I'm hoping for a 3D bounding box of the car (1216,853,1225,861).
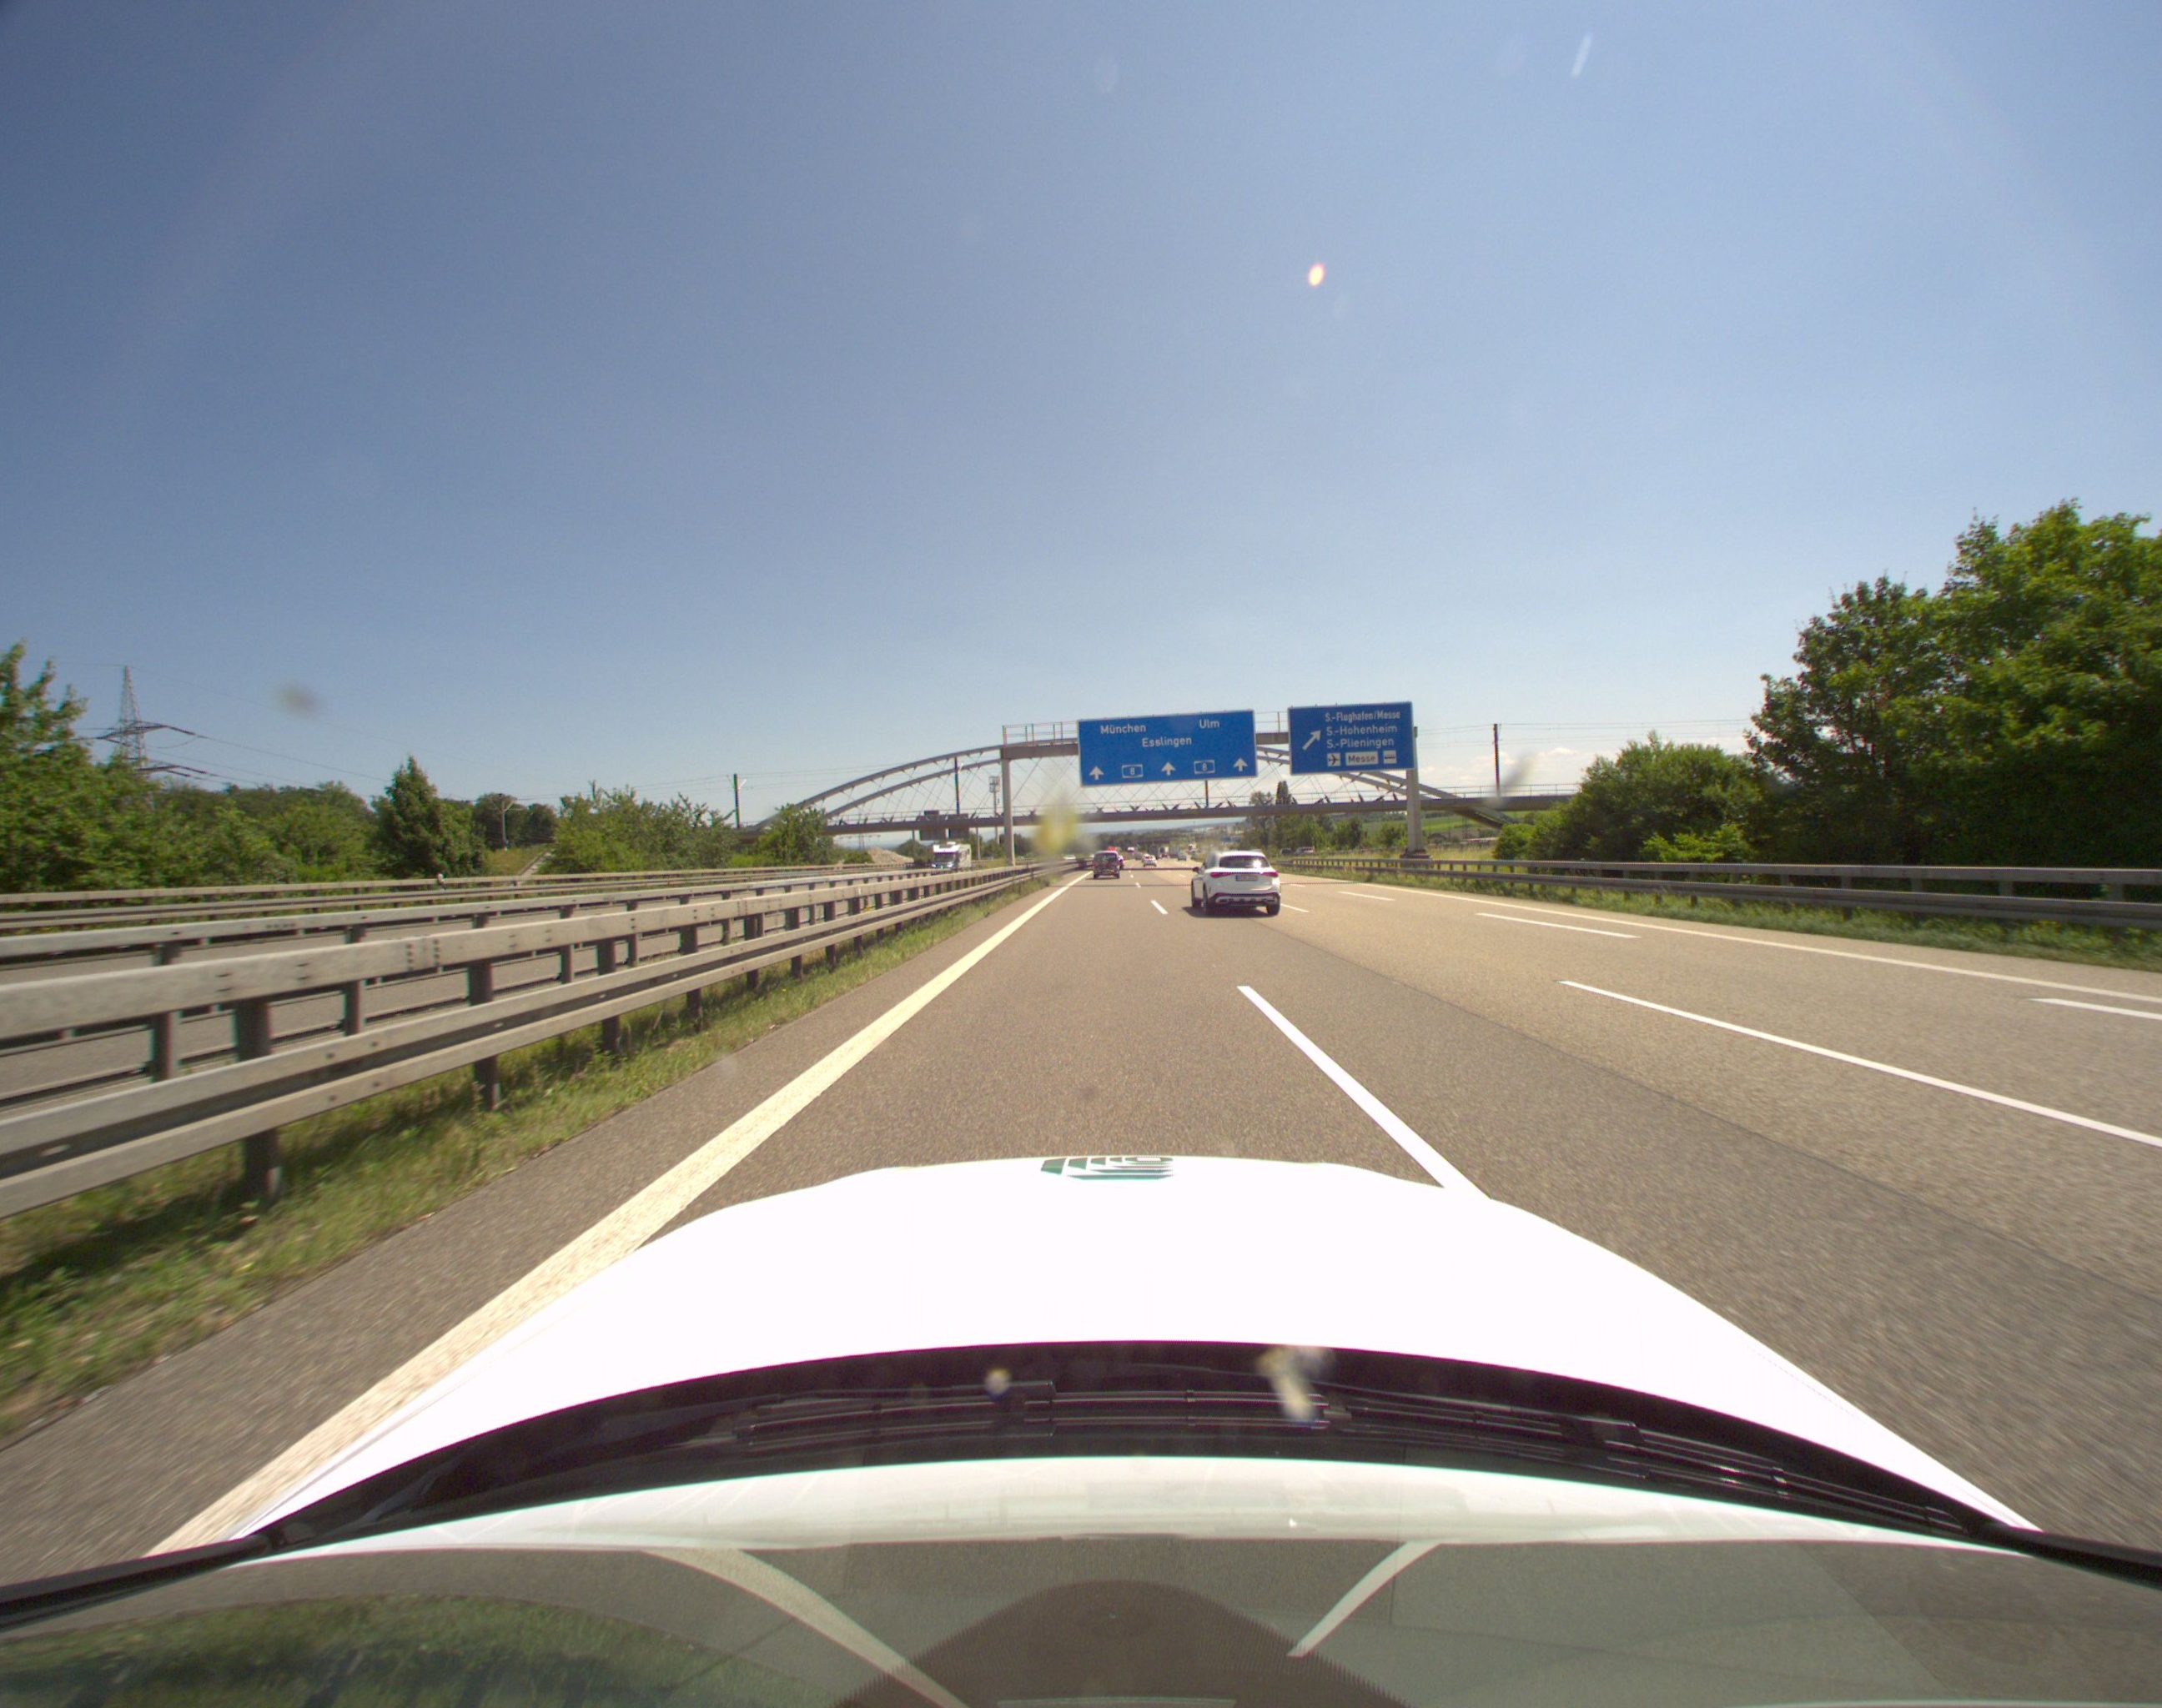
[{"bbox_3d":[36.216,0.745,211.954,1.984,2.014,4.006,-1,0,6],"label":"car"}]

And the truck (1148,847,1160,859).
[{"bbox_3d":[19.679,-0.363,218.926,2.687,3.109,10.685,-1,0,9],"label":"truck"}]

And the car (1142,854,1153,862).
[{"bbox_3d":[12.531,0.834,154.605,1.973,1.473,4.004,-1,0,3],"label":"car"}]

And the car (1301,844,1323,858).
[{"bbox_3d":[27.784,-0.366,98.015,1.693,1.575,4.130,-1,0,2],"label":"car"}]

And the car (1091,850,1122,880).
[{"bbox_3d":[1.707,0.711,54.756,1.919,1.919,4.949,-1,0,2],"label":"car"}]

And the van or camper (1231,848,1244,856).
[{"bbox_3d":[42.576,-0.573,221.861,2.525,2.014,4.453,-1,0,-5],"label":"van or camper"}]

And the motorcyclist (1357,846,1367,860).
[{"bbox_3d":[26.863,-0.117,77.930,0.666,1.366,0.879,-1,-1,2],"label":"motorcyclist"}]

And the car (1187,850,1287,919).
[{"bbox_3d":[4.082,0.748,22.185,1.891,1.647,5.000,-1,0,2],"label":"car"}]

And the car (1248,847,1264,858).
[{"bbox_3d":[29.964,-0.204,139.369,1.932,1.923,4.180,-1,0,1],"label":"car"}]

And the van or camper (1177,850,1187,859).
[{"bbox_3d":[22.545,0.126,181.288,2.145,2.014,4.311,-1,0,5],"label":"van or camper"}]

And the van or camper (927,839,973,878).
[{"bbox_3d":[-11.251,0.375,70.693,2.435,3.087,8.125,-1,0,2],"label":"van or camper"}]

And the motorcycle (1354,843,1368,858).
[{"bbox_3d":[26.844,-0.352,78.125,0.757,1.366,1.870,-1,0,2],"label":"motorcycle"}]

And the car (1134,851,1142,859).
[{"bbox_3d":[14.975,0.208,213.385,2.176,2.003,4.006,-1,0,5],"label":"car"}]

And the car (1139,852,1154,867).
[{"bbox_3d":[8.531,0.667,106.743,1.918,1.919,4.522,-1,0,4],"label":"car"}]
